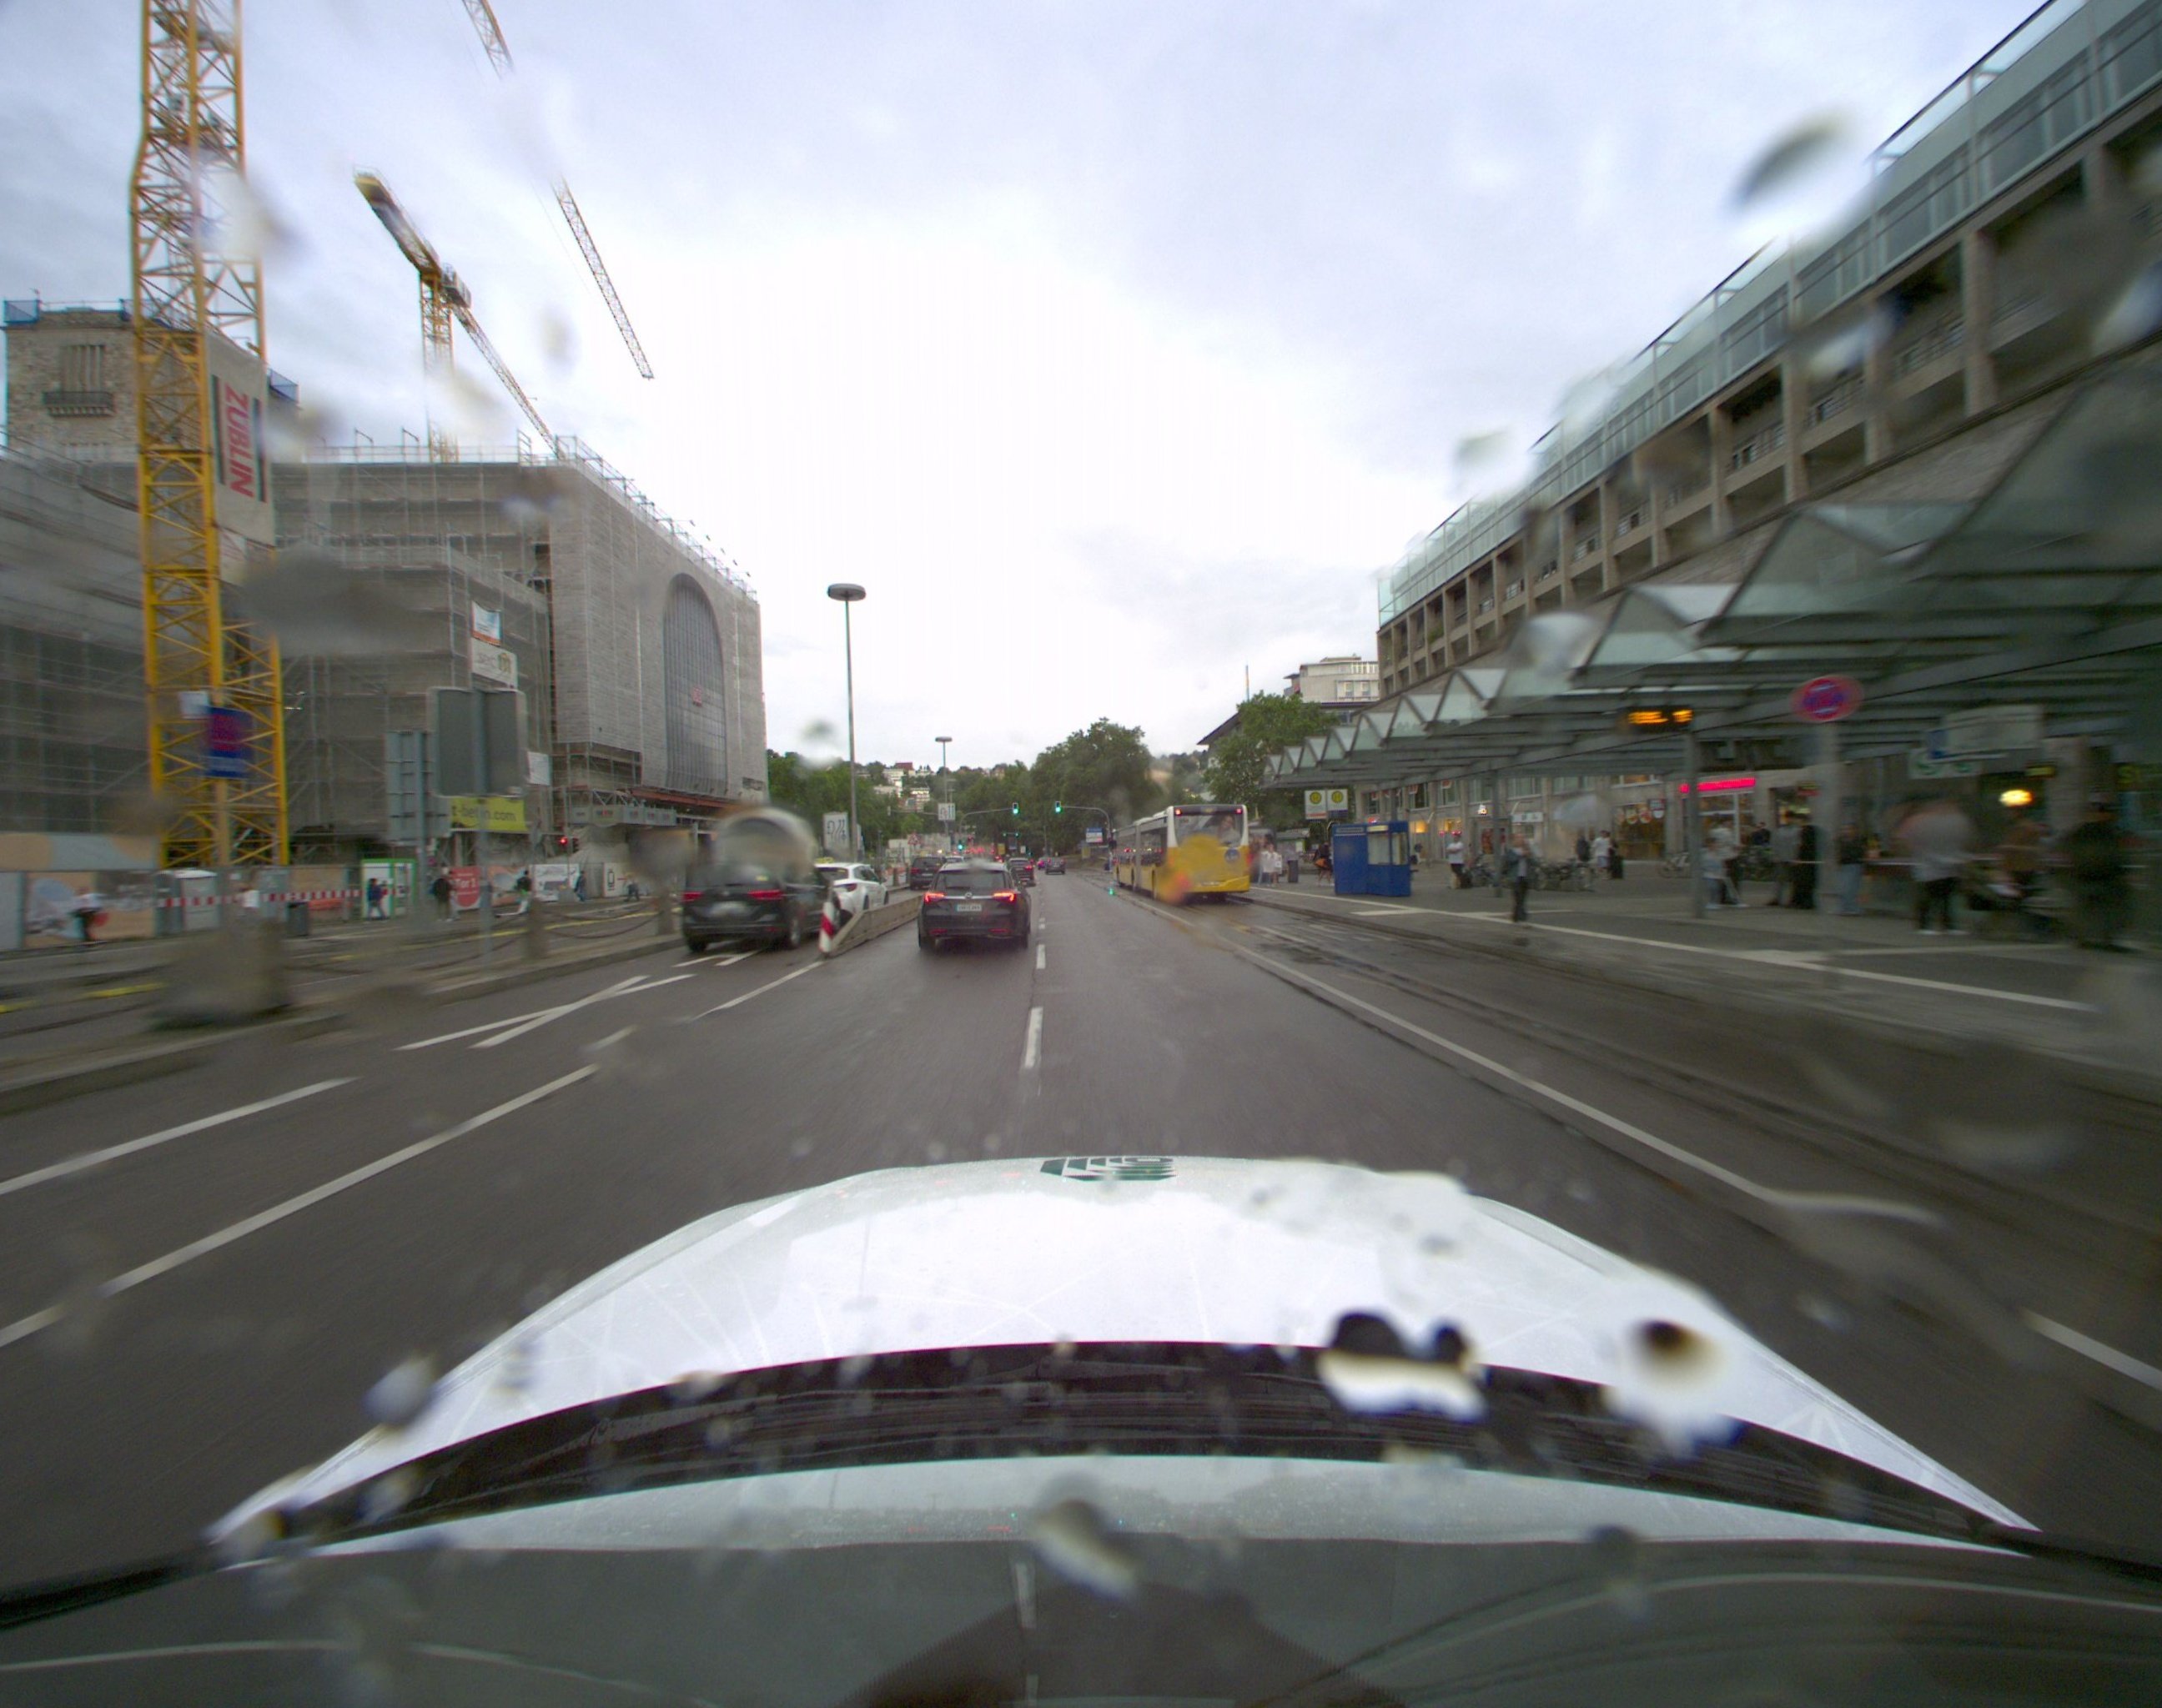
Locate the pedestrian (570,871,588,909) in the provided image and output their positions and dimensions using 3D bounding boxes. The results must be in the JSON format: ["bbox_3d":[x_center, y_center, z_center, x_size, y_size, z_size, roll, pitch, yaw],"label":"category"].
[{"bbox_3d":[-25.190,1.787,40.896,0.572,1.841,0.700,-1,0,-16],"label":"pedestrian"}]

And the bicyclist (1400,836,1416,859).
[{"bbox_3d":[22.560,-0.426,56.166,0.648,1.554,0.907,-3,-1,-1],"label":"bicyclist"}]

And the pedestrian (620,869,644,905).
[{"bbox_3d":[-23.325,1.697,42.319,0.877,1.841,0.834,-1,0,-16],"label":"pedestrian"}]

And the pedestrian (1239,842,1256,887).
[{"bbox_3d":[6.877,0.442,33.646,0.563,1.836,0.569,-2,0,1],"label":"pedestrian"}]

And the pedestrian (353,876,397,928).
[{"bbox_3d":[-26.107,1.757,30.126,0.800,1.841,0.868,-2,0,1],"label":"pedestrian"}]

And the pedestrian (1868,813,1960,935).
[{"bbox_3d":[11.705,0.265,11.451,0.763,1.654,0.674,-1,0,-26],"label":"pedestrian"}]

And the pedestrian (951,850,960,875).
[{"bbox_3d":[-10.061,0.660,65.407,0.620,2.013,0.835,-2,0,-4],"label":"pedestrian"}]

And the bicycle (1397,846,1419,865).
[{"bbox_3d":[22.576,0.127,56.285,0.657,1.255,2.012,-2,0,-1],"label":"bicycle"}]

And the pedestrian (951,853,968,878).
[{"bbox_3d":[-9.902,0.943,66.596,0.825,2.013,1.034,-2,0,34],"label":"pedestrian"}]

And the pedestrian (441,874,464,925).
[{"bbox_3d":[-23.047,1.658,29.864,0.336,1.841,0.511,-2,0,13],"label":"pedestrian"}]

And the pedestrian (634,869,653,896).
[{"bbox_3d":[-26.322,1.712,48.993,0.674,1.613,0.838,-2,0,0],"label":"pedestrian"}]

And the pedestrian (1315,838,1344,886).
[{"bbox_3d":[9.643,0.299,31.646,0.978,1.836,0.838,-2,0,13],"label":"pedestrian"}]

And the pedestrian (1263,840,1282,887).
[{"bbox_3d":[7.647,0.379,32.529,0.689,1.836,0.557,-2,0,14],"label":"pedestrian"}]

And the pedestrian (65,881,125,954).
[{"bbox_3d":[-25.887,1.648,21.386,0.739,1.841,0.656,-2,0,1],"label":"pedestrian"}]

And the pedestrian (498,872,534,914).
[{"bbox_3d":[-25.762,1.771,37.141,0.836,1.841,1.058,-2,0,1],"label":"pedestrian"}]

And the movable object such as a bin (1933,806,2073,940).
[{"bbox_3d":[12.027,0.237,10.649,0.666,1.652,1.040,-1,0,-25],"label":"movable object such as a bin"}]

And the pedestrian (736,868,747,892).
[{"bbox_3d":[-26.788,2.073,64.217,0.534,1.841,0.770,-2,0,-4],"label":"pedestrian"}]

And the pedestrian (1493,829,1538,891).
[{"bbox_3d":[12.125,0.167,22.733,0.746,1.695,0.902,-2,0,1],"label":"pedestrian"}]

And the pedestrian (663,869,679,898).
[{"bbox_3d":[-24.623,1.771,48.893,0.683,1.685,0.834,-1,0,-16],"label":"pedestrian"}]

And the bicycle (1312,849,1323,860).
[{"bbox_3d":[23.711,0.055,81.789,0.613,1.055,1.999,-4,0,5],"label":"bicycle"}]

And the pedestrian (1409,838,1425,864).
[{"bbox_3d":[24.144,-0.221,58.554,0.729,1.792,0.788,-2,-1,-3],"label":"pedestrian"}]

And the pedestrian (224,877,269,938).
[{"bbox_3d":[-26.107,1.657,25.490,0.719,1.841,0.612,-2,0,1],"label":"pedestrian"}]

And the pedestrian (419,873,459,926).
[{"bbox_3d":[-22.947,1.624,29.109,0.695,1.841,0.883,-2,0,26],"label":"pedestrian"}]

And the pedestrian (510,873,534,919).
[{"bbox_3d":[-22.885,1.725,33.359,0.507,1.841,0.702,-1,0,-8],"label":"pedestrian"}]

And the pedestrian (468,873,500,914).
[{"bbox_3d":[-27.168,1.789,37.079,0.800,1.841,0.851,-2,0,1],"label":"pedestrian"}]

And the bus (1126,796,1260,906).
[{"bbox_3d":[3.619,-0.051,28.967,3.133,3.247,9.127,-1,-1,-2],"label":"bus"}]

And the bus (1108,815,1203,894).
[{"bbox_3d":[3.229,0.079,38.118,3.106,3.205,9.231,-1,-1,-3],"label":"bus"}]

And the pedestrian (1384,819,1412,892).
[{"bbox_3d":[9.737,0.041,25.019,0.588,2.215,0.587,-2,0,-1],"label":"pedestrian"}]

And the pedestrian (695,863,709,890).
[{"bbox_3d":[-27.064,1.589,58.201,0.773,1.841,0.830,-1,0,-16],"label":"pedestrian"}]

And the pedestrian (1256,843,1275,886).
[{"bbox_3d":[7.603,0.429,33.562,0.607,1.723,0.592,-2,0,1],"label":"pedestrian"}]

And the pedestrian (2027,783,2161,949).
[{"bbox_3d":[11.836,0.140,9.471,0.745,1.836,0.764,-2,0,13],"label":"pedestrian"}]

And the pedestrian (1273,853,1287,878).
[{"bbox_3d":[10.337,0.599,42.397,0.512,1.232,0.770,-2,0,0],"label":"pedestrian"}]
